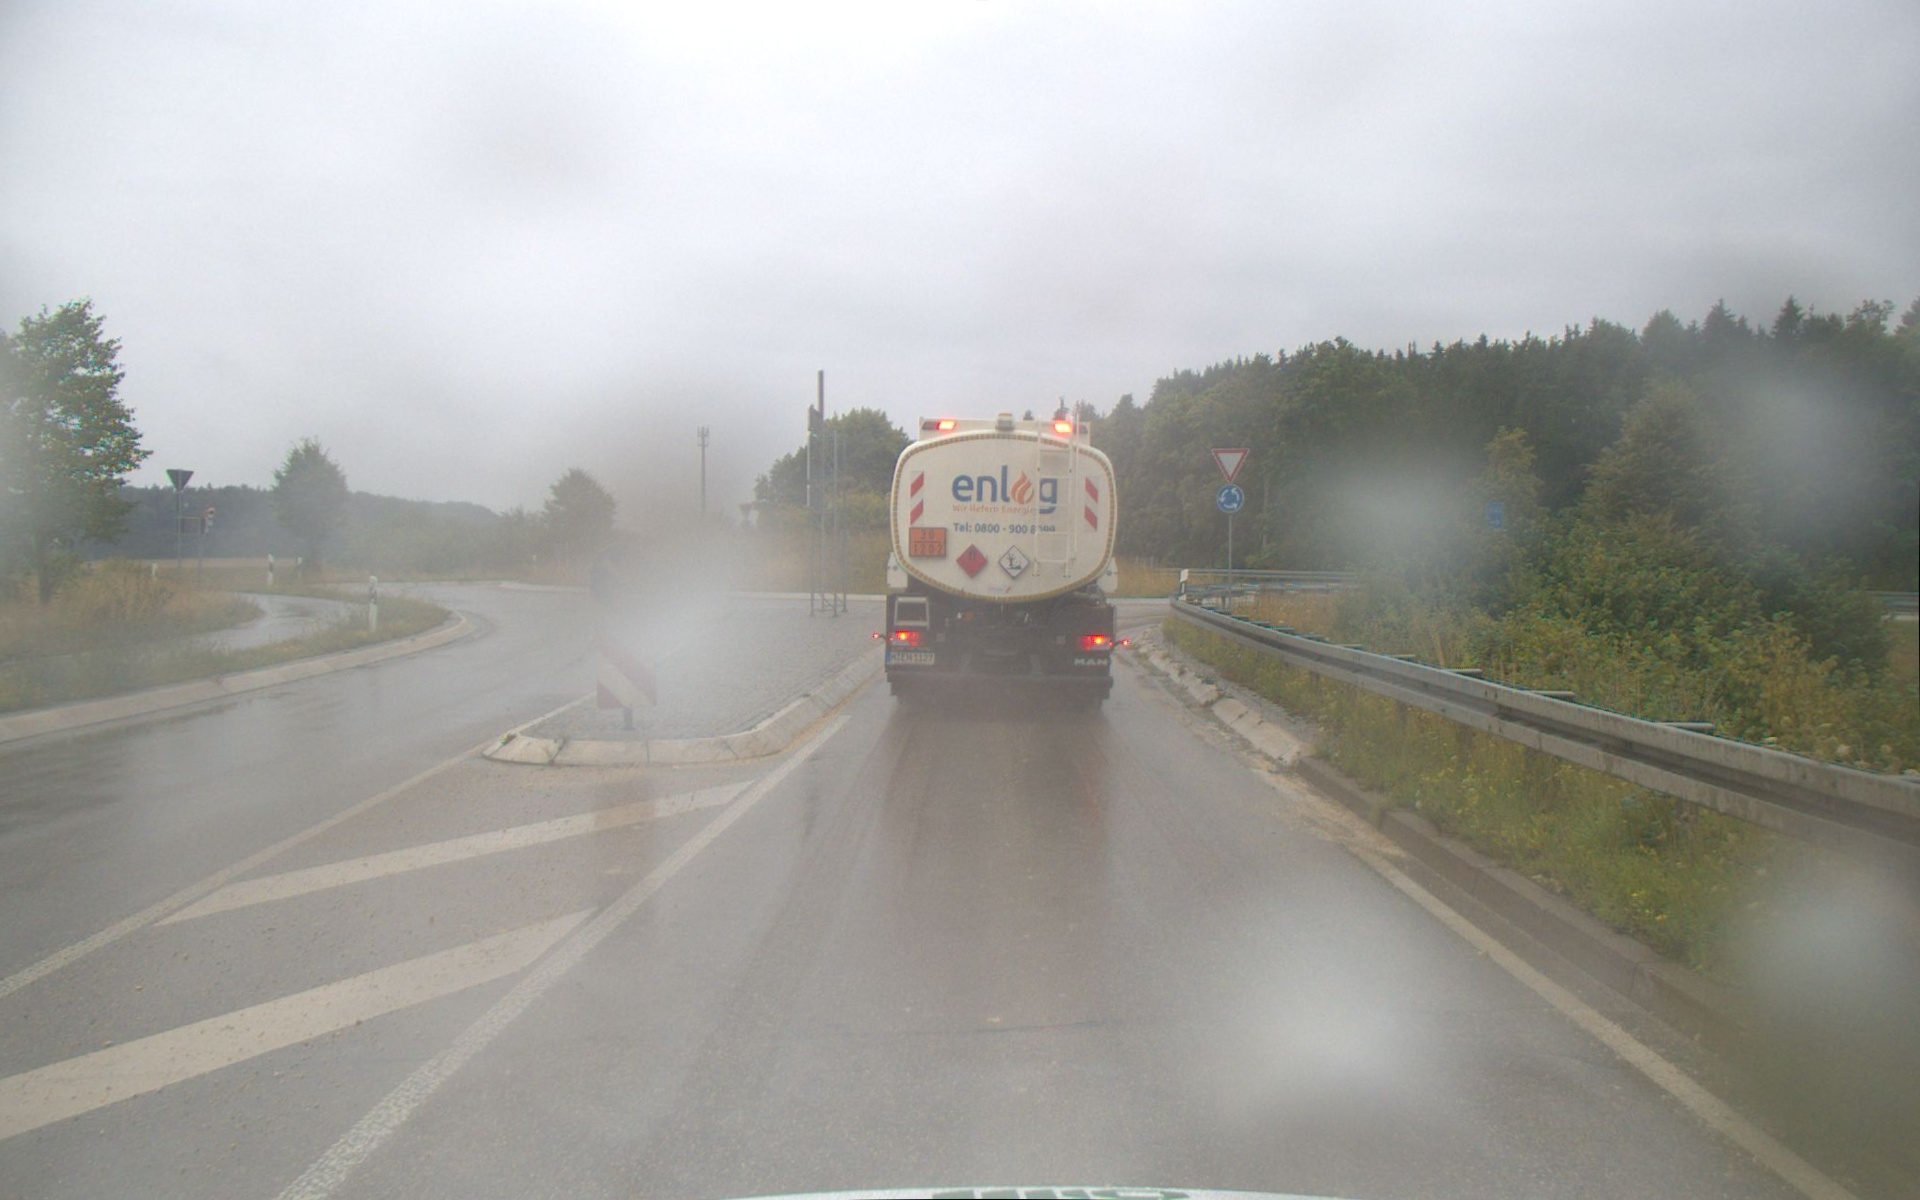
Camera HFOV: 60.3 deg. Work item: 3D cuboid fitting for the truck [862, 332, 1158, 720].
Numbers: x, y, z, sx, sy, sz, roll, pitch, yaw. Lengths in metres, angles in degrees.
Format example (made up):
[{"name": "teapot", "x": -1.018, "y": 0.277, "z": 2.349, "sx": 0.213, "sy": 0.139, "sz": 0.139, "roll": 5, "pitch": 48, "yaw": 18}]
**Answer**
[{"name": "truck", "x": 0.657, "y": -0.856, "z": 21.249, "sx": 2.976, "sy": 3.918, "sz": 8.826, "roll": 1, "pitch": 1, "yaw": 2}]
